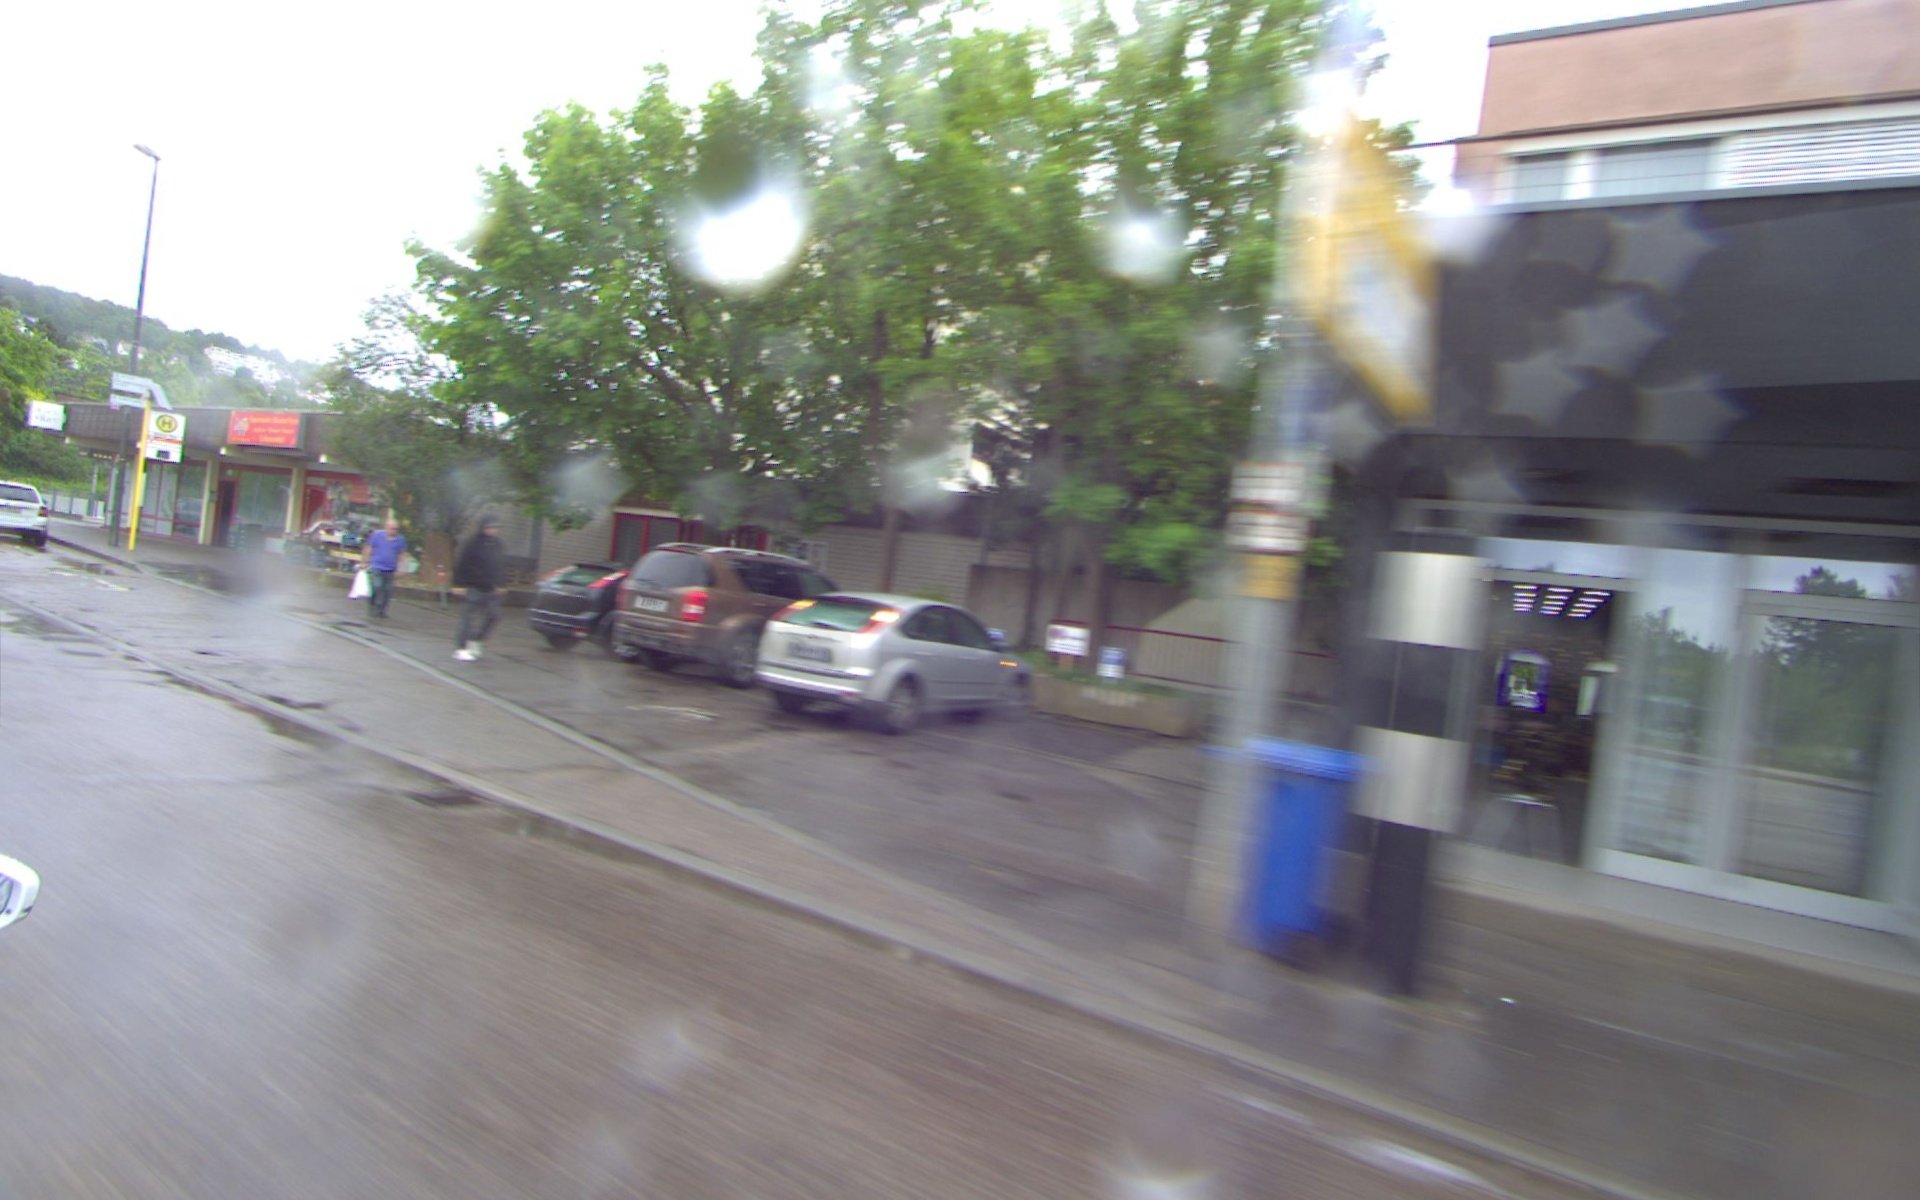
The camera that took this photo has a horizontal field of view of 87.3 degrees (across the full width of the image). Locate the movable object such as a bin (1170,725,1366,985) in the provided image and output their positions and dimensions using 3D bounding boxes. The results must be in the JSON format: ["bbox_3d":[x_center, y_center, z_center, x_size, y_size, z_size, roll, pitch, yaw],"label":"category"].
[{"bbox_3d":[1.599,1.266,5.208,0.687,1.088,0.636,9,2,33],"label":"movable object such as a bin"}]

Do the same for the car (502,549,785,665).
[{"bbox_3d":[-4.970,0.190,16.371,1.773,1.472,4.152,7,0,32],"label":"car"}]

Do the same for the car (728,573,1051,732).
[{"bbox_3d":[-0.677,0.657,12.268,1.718,1.465,3.988,7,0,34],"label":"car"}]

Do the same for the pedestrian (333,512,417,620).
[{"bbox_3d":[-10.217,-0.584,17.582,0.747,1.759,0.875,8,2,32],"label":"pedestrian"}]

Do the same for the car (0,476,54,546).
[{"bbox_3d":[-24.342,-2.359,25.324,4.417,1.517,1.727,8,2,42],"label":"car"}]

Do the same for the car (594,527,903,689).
[{"bbox_3d":[-2.895,0.200,14.586,1.846,1.894,4.096,7,0,34],"label":"car"}]

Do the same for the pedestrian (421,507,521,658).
[{"bbox_3d":[-6.332,-0.208,13.069,0.781,1.844,0.710,5,0,4],"label":"pedestrian"}]
